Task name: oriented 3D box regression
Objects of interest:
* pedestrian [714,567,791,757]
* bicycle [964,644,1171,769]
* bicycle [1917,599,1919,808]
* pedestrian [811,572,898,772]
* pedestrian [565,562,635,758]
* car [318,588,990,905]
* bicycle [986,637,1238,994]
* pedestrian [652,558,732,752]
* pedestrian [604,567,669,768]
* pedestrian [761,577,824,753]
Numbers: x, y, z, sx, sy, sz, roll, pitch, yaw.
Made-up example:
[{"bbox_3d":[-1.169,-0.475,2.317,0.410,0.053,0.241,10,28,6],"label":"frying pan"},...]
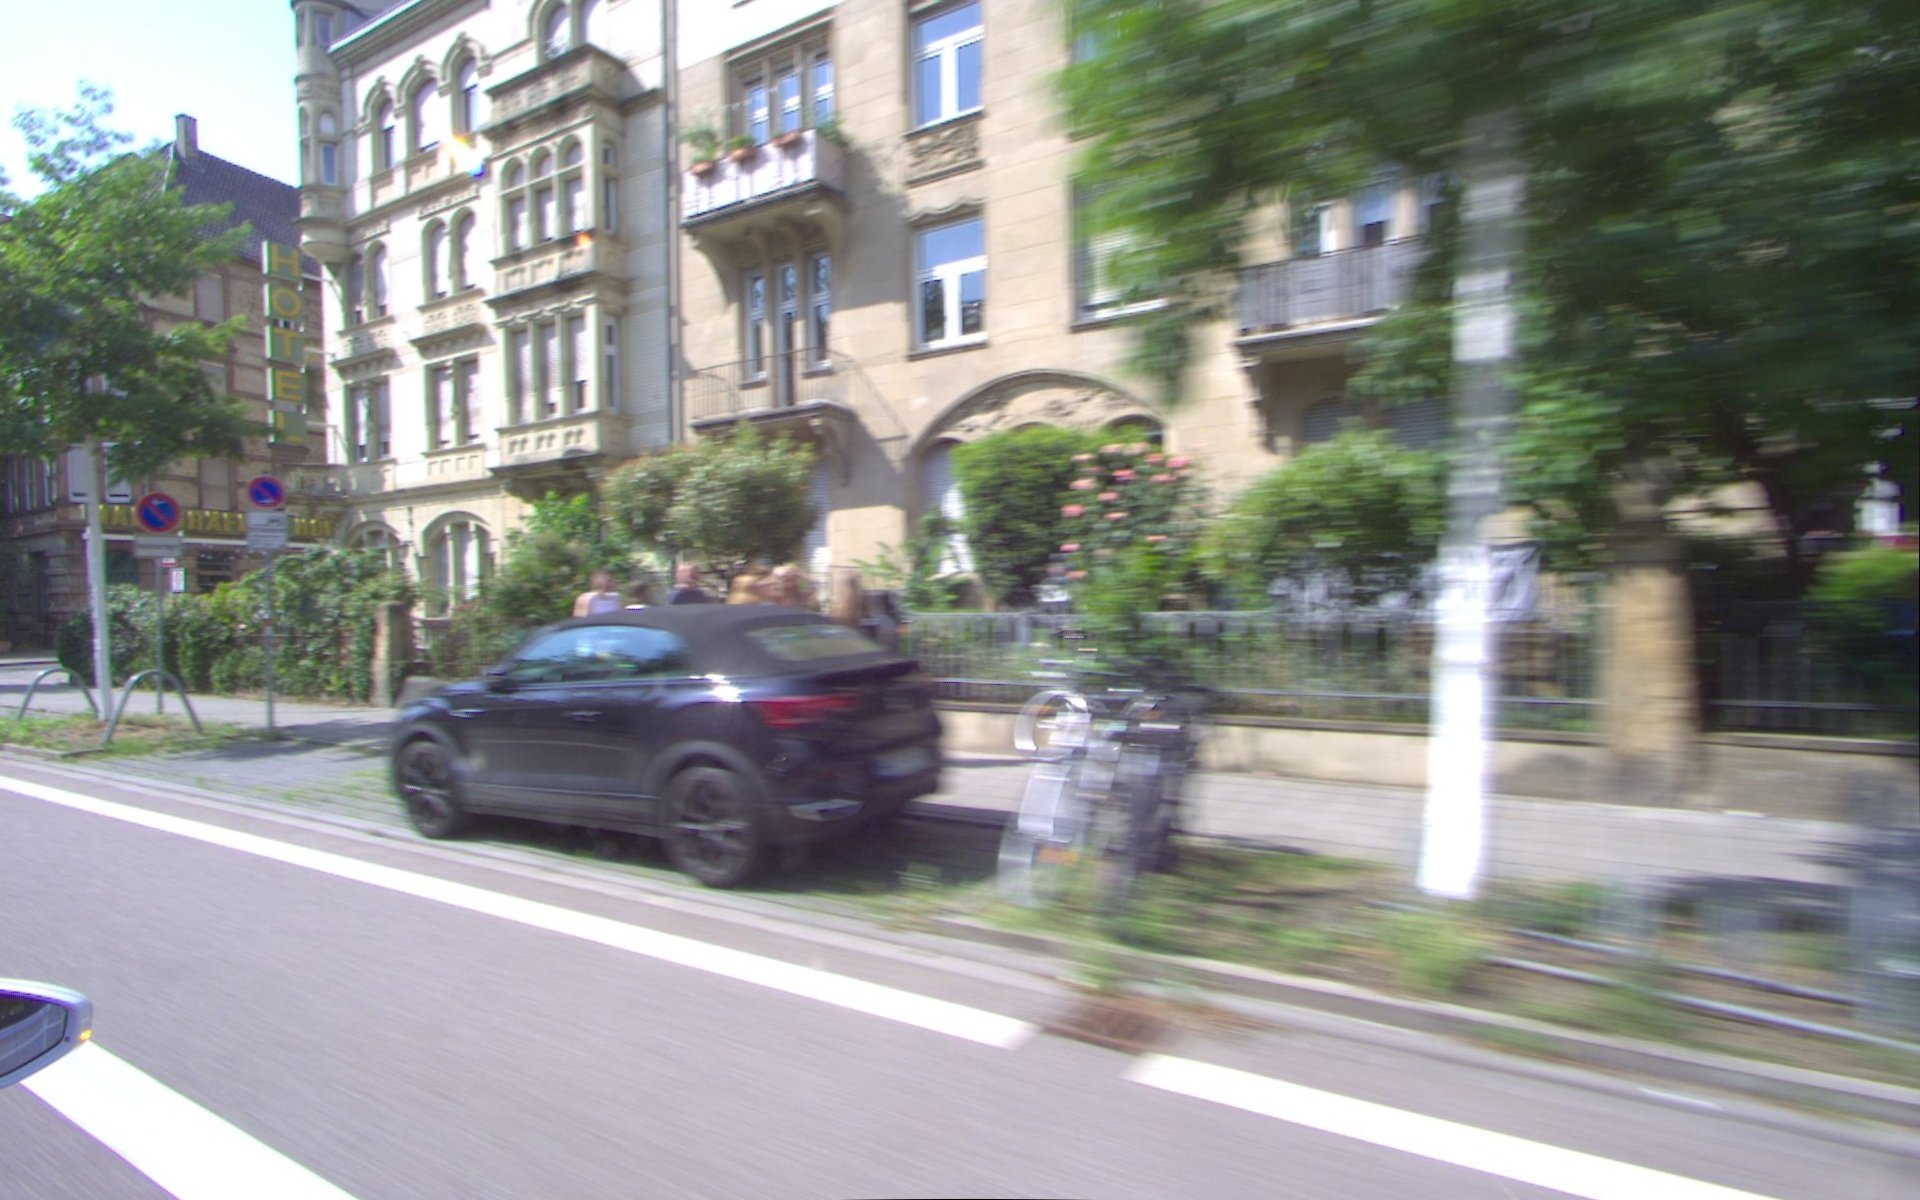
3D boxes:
[{"bbox_3d":[-1.946,0.566,9.432,0.487,1.730,0.502,-1,3,14],"label":"pedestrian"},{"bbox_3d":[0.910,0.891,8.743,1.782,0.953,0.426,-1,3,33],"label":"bicycle"},{"bbox_3d":[6.877,0.624,5.029,2.901,1.266,0.656,-1,3,33],"label":"bicycle"},{"bbox_3d":[-0.919,0.612,8.802,0.564,1.699,0.529,-1,3,14],"label":"pedestrian"},{"bbox_3d":[-3.442,0.554,9.592,0.314,1.830,0.458,0,3,30],"label":"pedestrian"},{"bbox_3d":[-2.173,0.741,6.835,4.420,1.547,1.795,-1,2,29],"label":"car"},{"bbox_3d":[0.966,0.874,5.314,0.779,1.262,2.950,0,0,19],"label":"bicycle"},{"bbox_3d":[-2.612,0.508,9.795,0.314,1.830,0.668,0,3,30],"label":"pedestrian"},{"bbox_3d":[-2.874,0.582,8.893,0.316,1.730,0.456,-4,4,-44],"label":"pedestrian"},{"bbox_3d":[-1.687,0.642,10.118,0.425,1.730,0.383,0,3,32],"label":"pedestrian"}]
